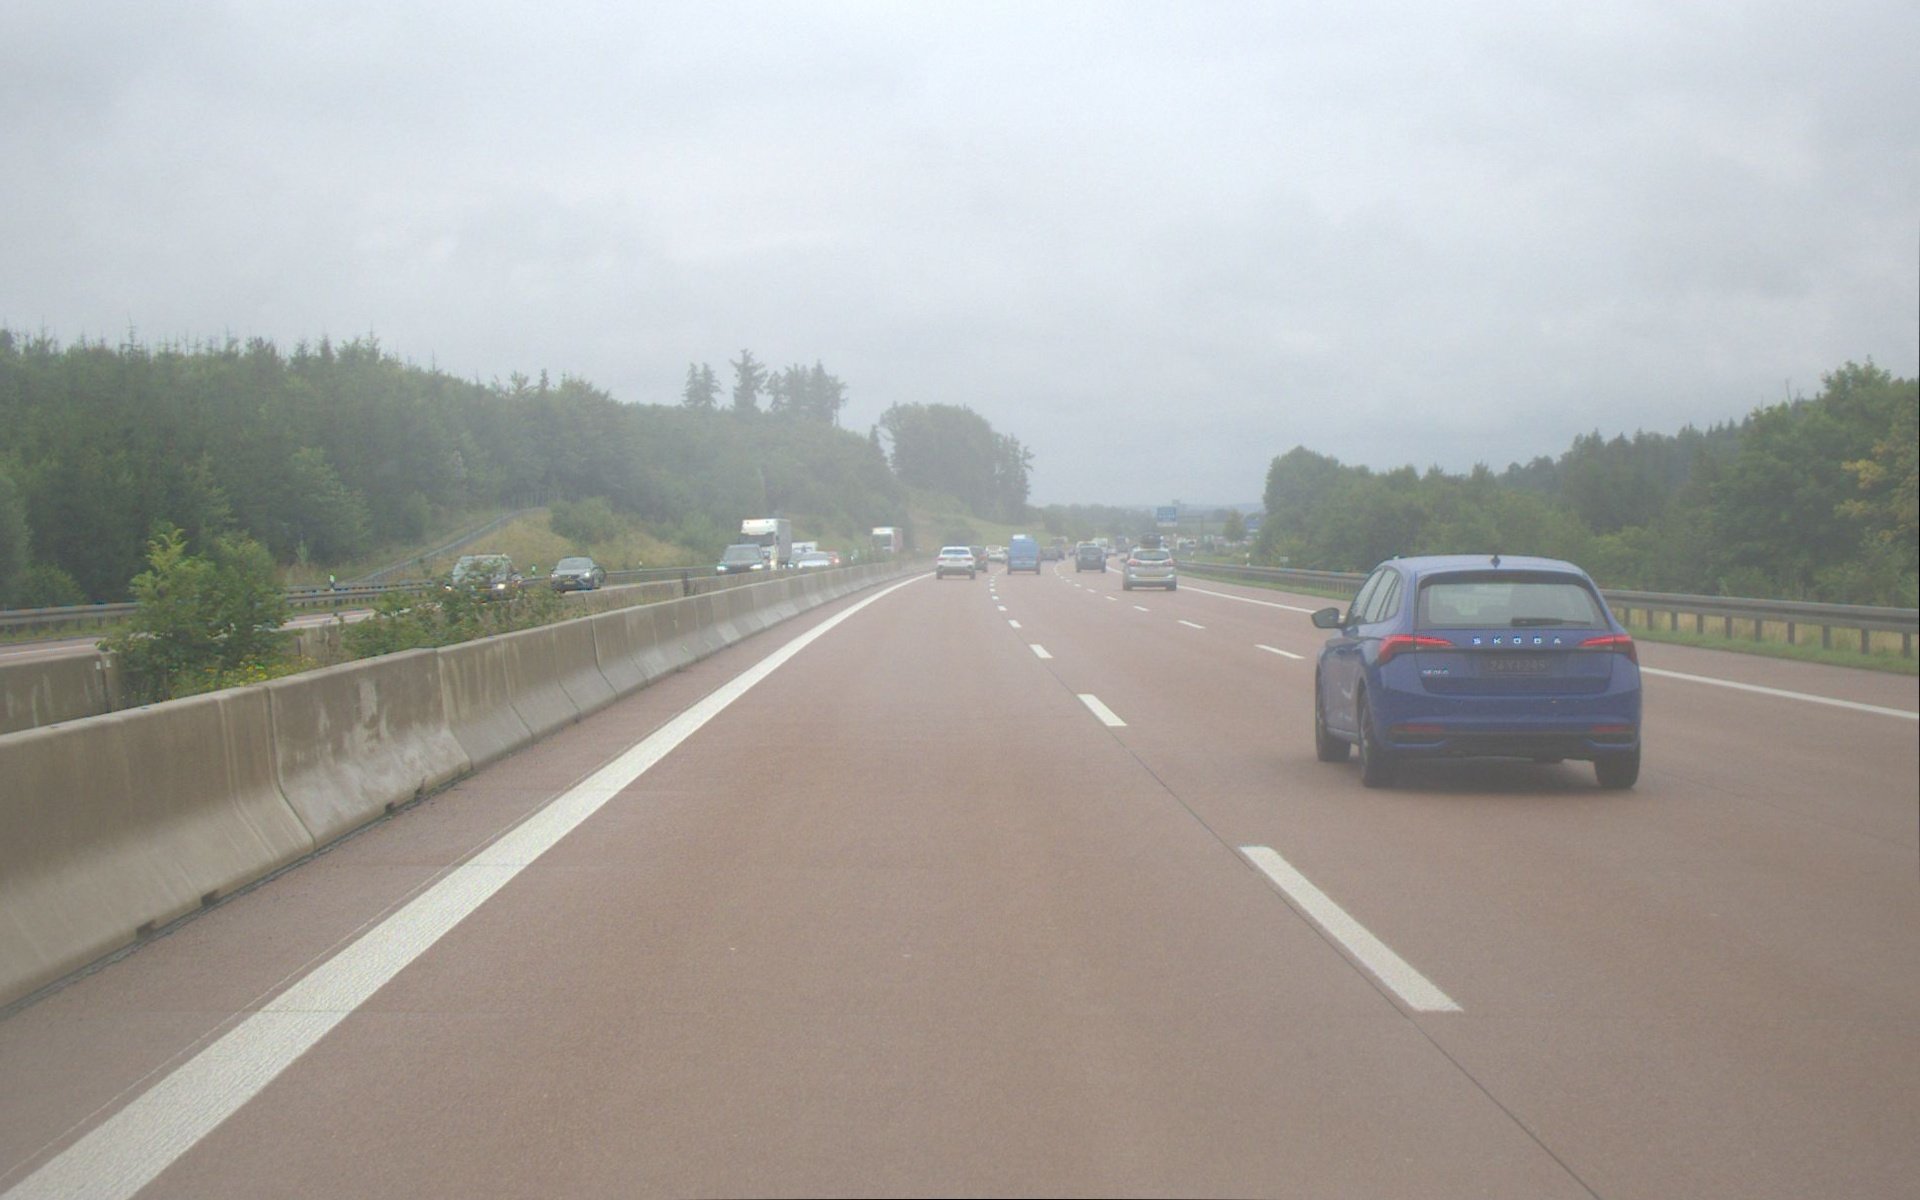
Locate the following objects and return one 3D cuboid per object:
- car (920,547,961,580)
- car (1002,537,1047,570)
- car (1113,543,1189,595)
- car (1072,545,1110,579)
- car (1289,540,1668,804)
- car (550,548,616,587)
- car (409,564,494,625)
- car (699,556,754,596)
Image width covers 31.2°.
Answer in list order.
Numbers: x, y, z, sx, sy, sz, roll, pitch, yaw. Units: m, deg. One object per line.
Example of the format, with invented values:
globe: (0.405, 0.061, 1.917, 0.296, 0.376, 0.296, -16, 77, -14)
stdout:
car: (-0.924, -1.729, 163.043, 1.874, 1.439, 4.877, 1, 0, -1)
car: (3.603, -2.631, 193.663, 2.322, 1.744, 4.877, 1, 0, -1)
car: (6.799, -1.091, 123.010, 2.322, 1.744, 4.877, 1, 0, -1)
car: (7.978, -2.308, 209.567, 1.993, 2.007, 4.000, 1, 0, -2)
car: (3.322, 0.443, 22.787, 1.771, 1.559, 4.147, 1, 0, -1)
car: (-16.337, -1.393, 149.146, 1.994, 1.555, 5.744, 1, 0, 2)
car: (-13.821, -0.136, 93.584, 1.716, 1.577, 4.316, -1, 0, -1)
car: (-9.490, -0.987, 139.873, 1.865, 1.546, 4.807, 1, 1, 0)
